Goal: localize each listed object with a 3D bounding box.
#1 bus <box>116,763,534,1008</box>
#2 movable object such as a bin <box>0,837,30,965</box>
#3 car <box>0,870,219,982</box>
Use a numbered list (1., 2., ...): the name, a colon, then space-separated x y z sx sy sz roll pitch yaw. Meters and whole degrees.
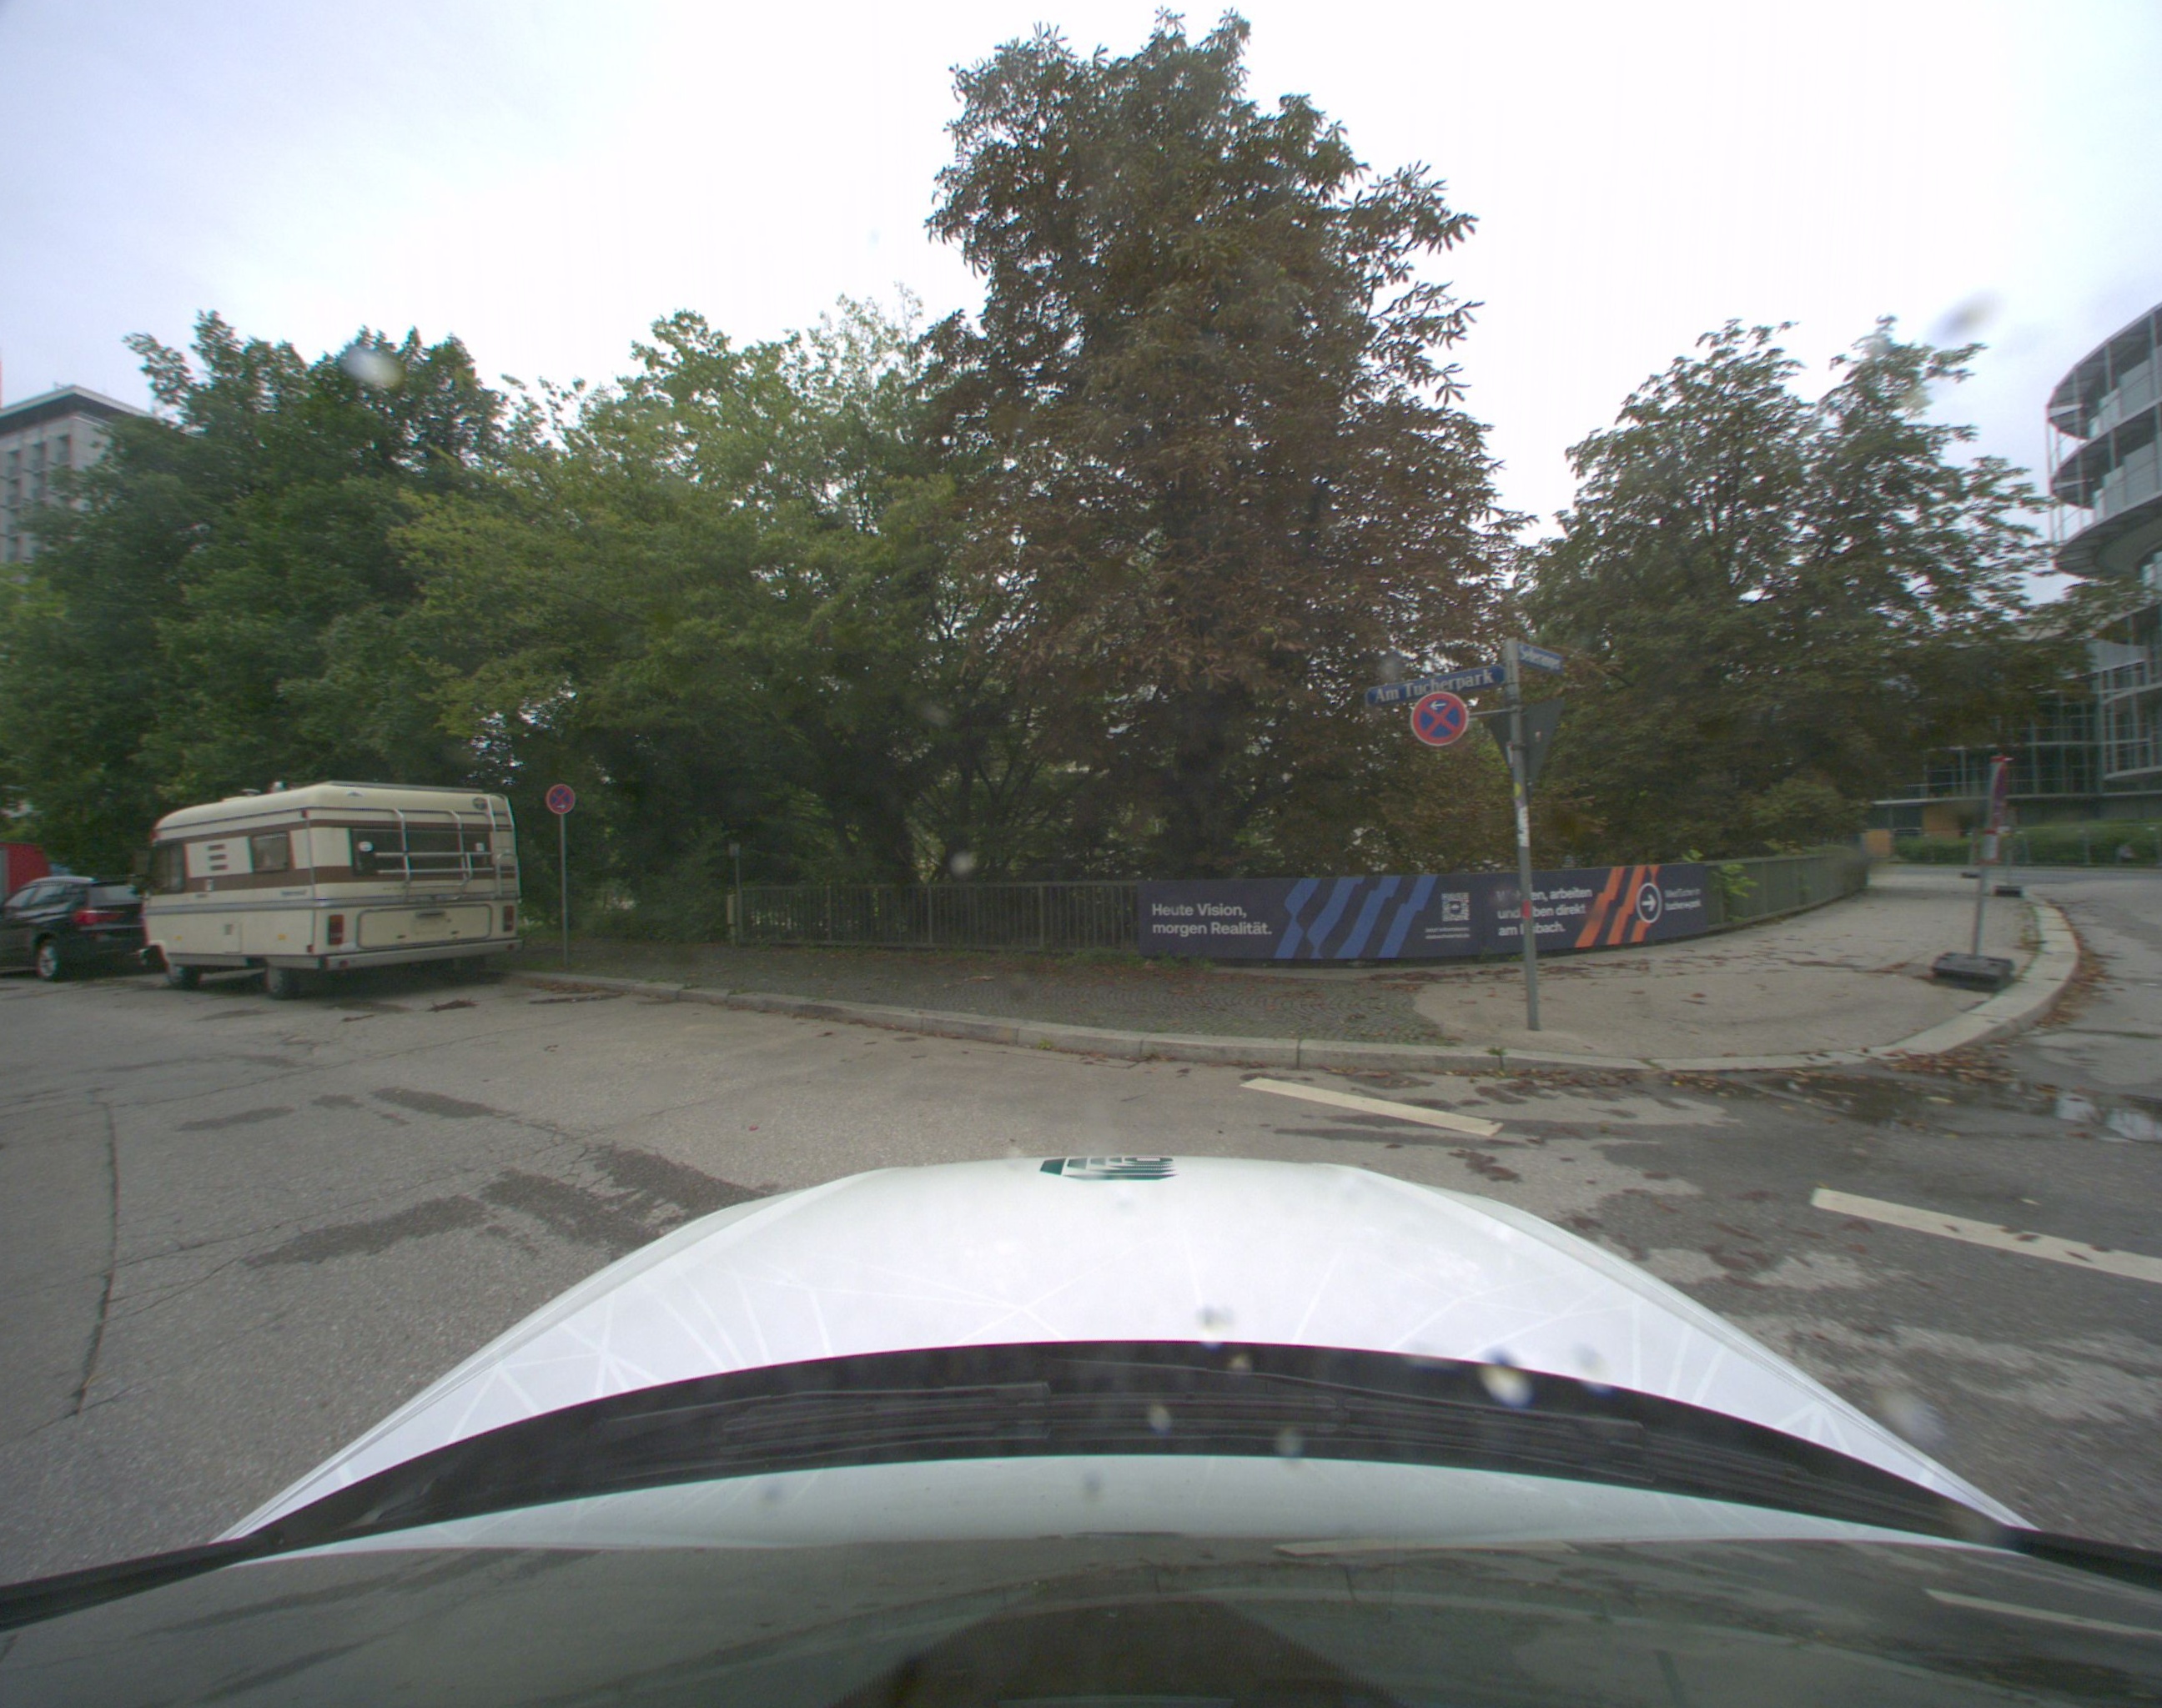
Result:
1. bus: -10.524 0.419 11.271 5.662 2.699 2.336 -2 -1 26
2. movable object such as a bin: -23.784 0.980 16.069 6.112 2.458 2.122 -2 -1 22
3. car: -17.166 1.158 13.830 4.409 1.649 1.790 -2 -1 19
